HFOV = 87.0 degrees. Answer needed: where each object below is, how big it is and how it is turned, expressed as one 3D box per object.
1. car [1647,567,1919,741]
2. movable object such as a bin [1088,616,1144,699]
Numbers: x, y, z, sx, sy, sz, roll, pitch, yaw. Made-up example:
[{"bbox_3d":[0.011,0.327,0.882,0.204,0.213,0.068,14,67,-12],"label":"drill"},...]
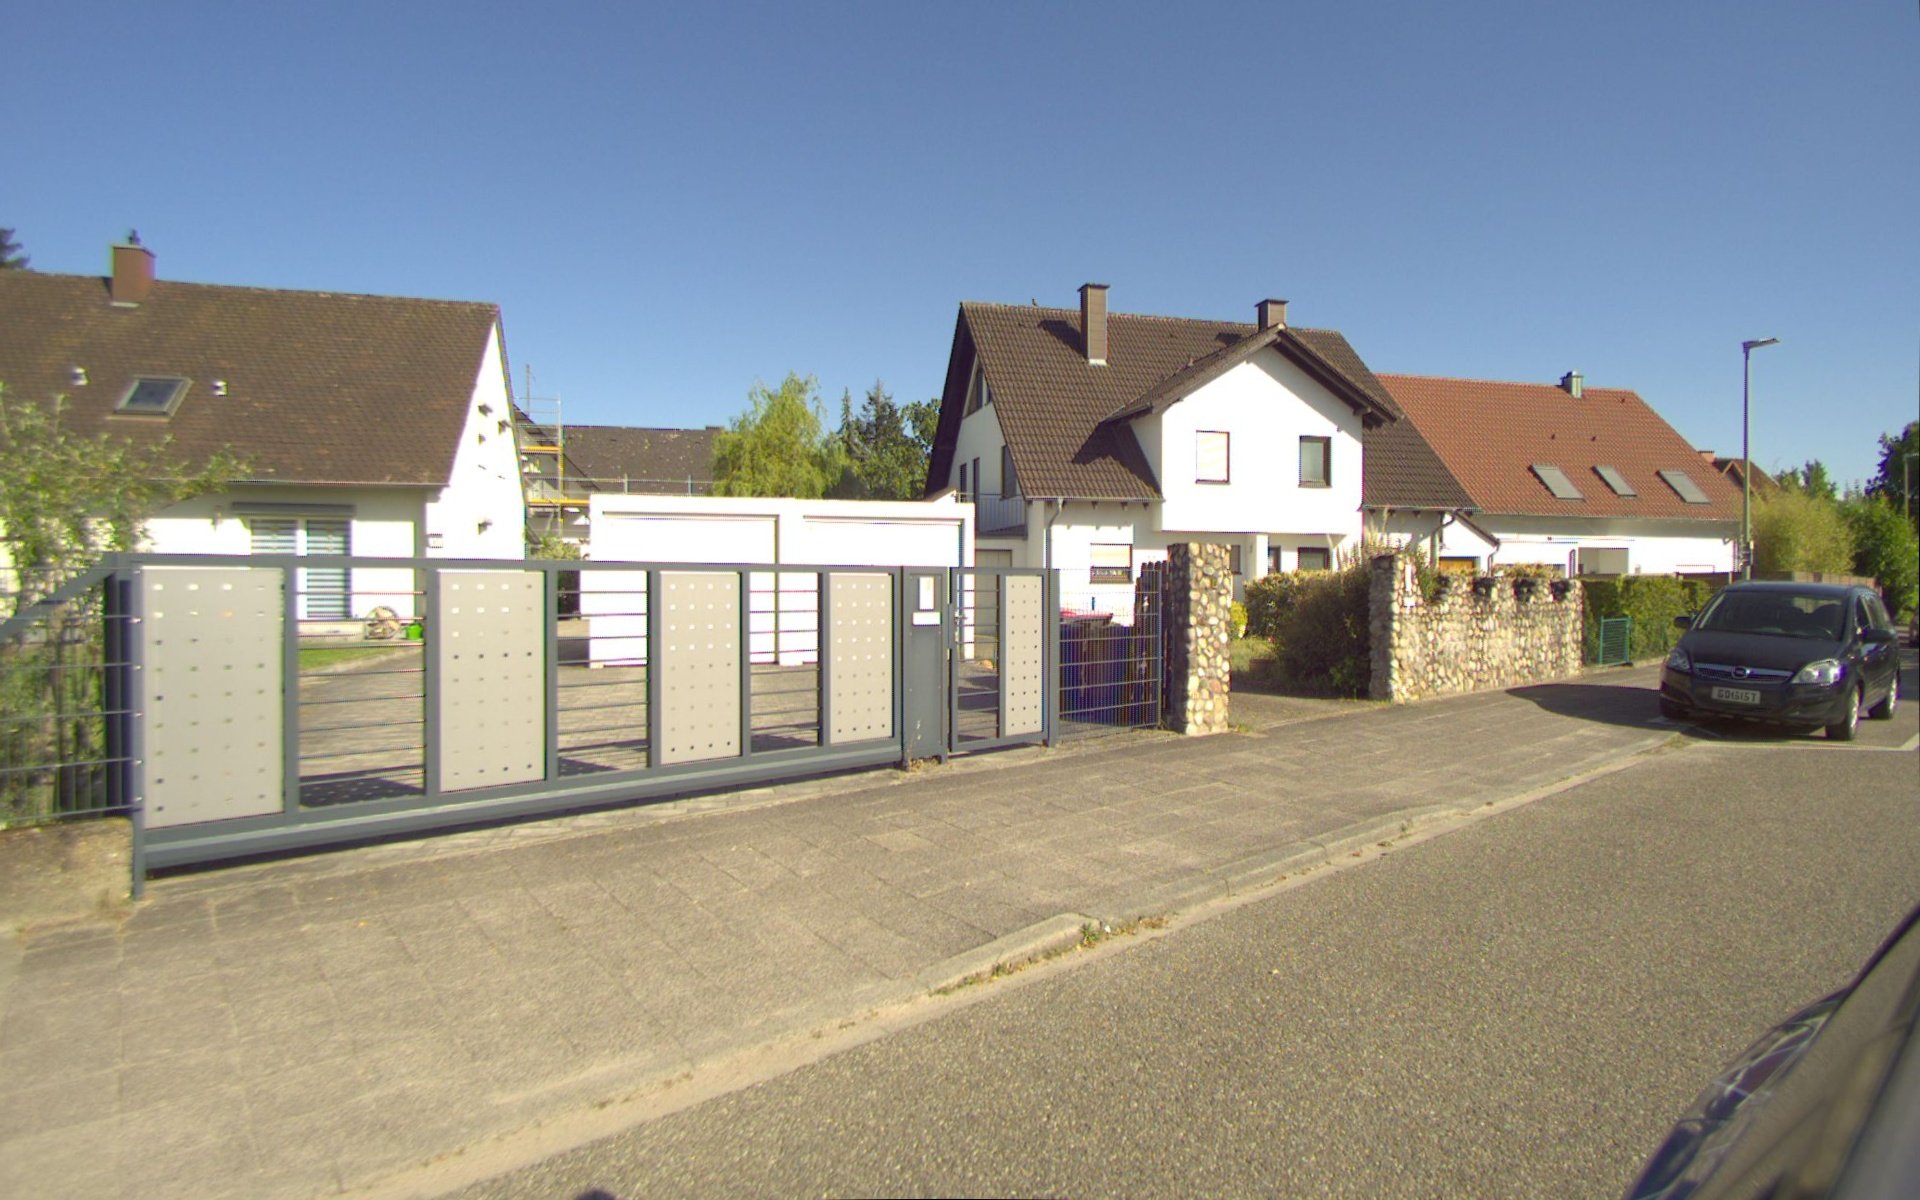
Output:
[{"bbox_3d":[9.756,0.495,11.796,4.226,1.680,1.779,-1,0,-39],"label":"car"},{"bbox_3d":[1.828,0.666,11.868,0.542,0.936,0.373,0,1,-12],"label":"movable object such as a bin"}]
